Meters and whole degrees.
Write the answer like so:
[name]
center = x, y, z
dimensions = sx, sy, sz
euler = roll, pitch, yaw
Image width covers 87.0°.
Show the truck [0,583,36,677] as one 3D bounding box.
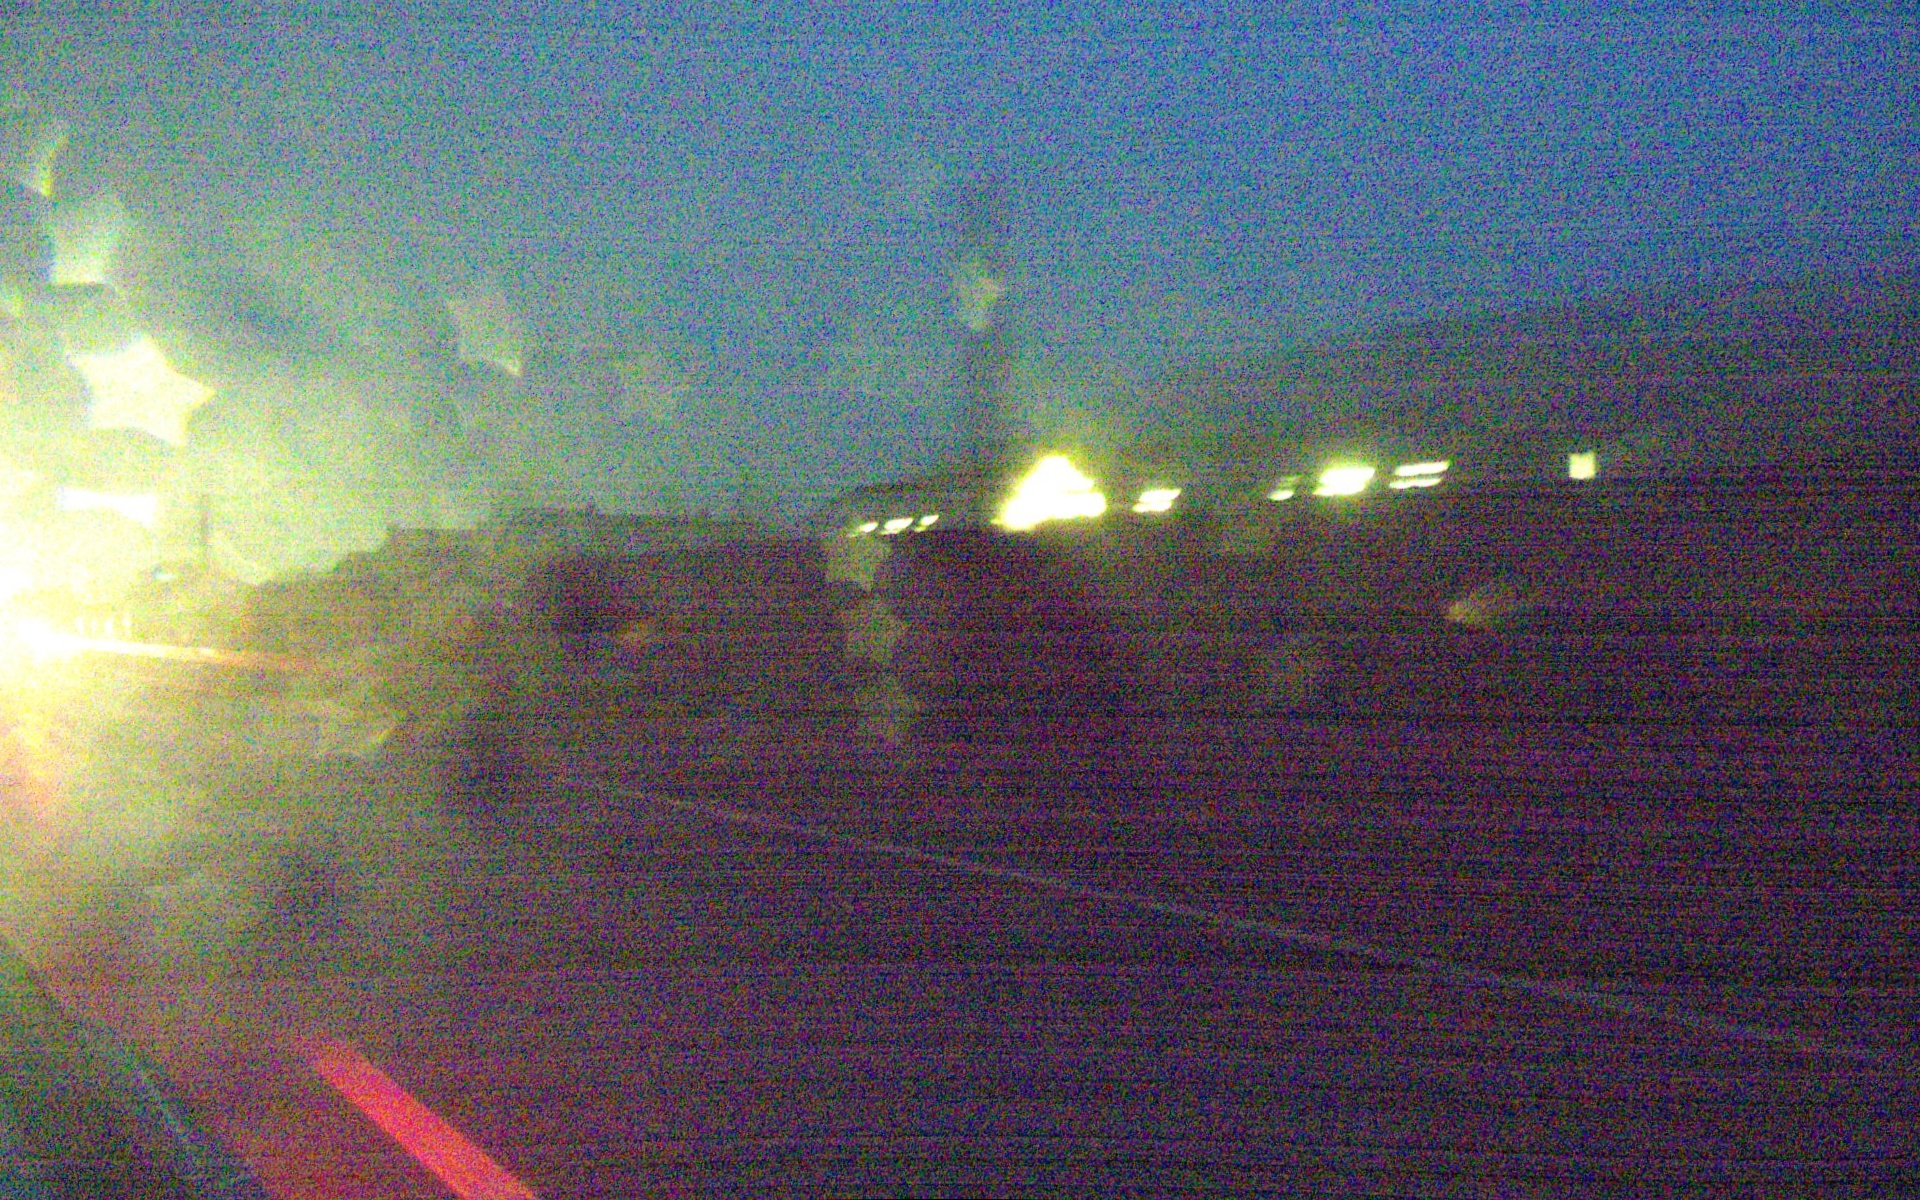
[truck]
center = -28.426, 0.874, 29.287
dimensions = 5.279, 2.554, 2.113
euler = -2, -1, 43
